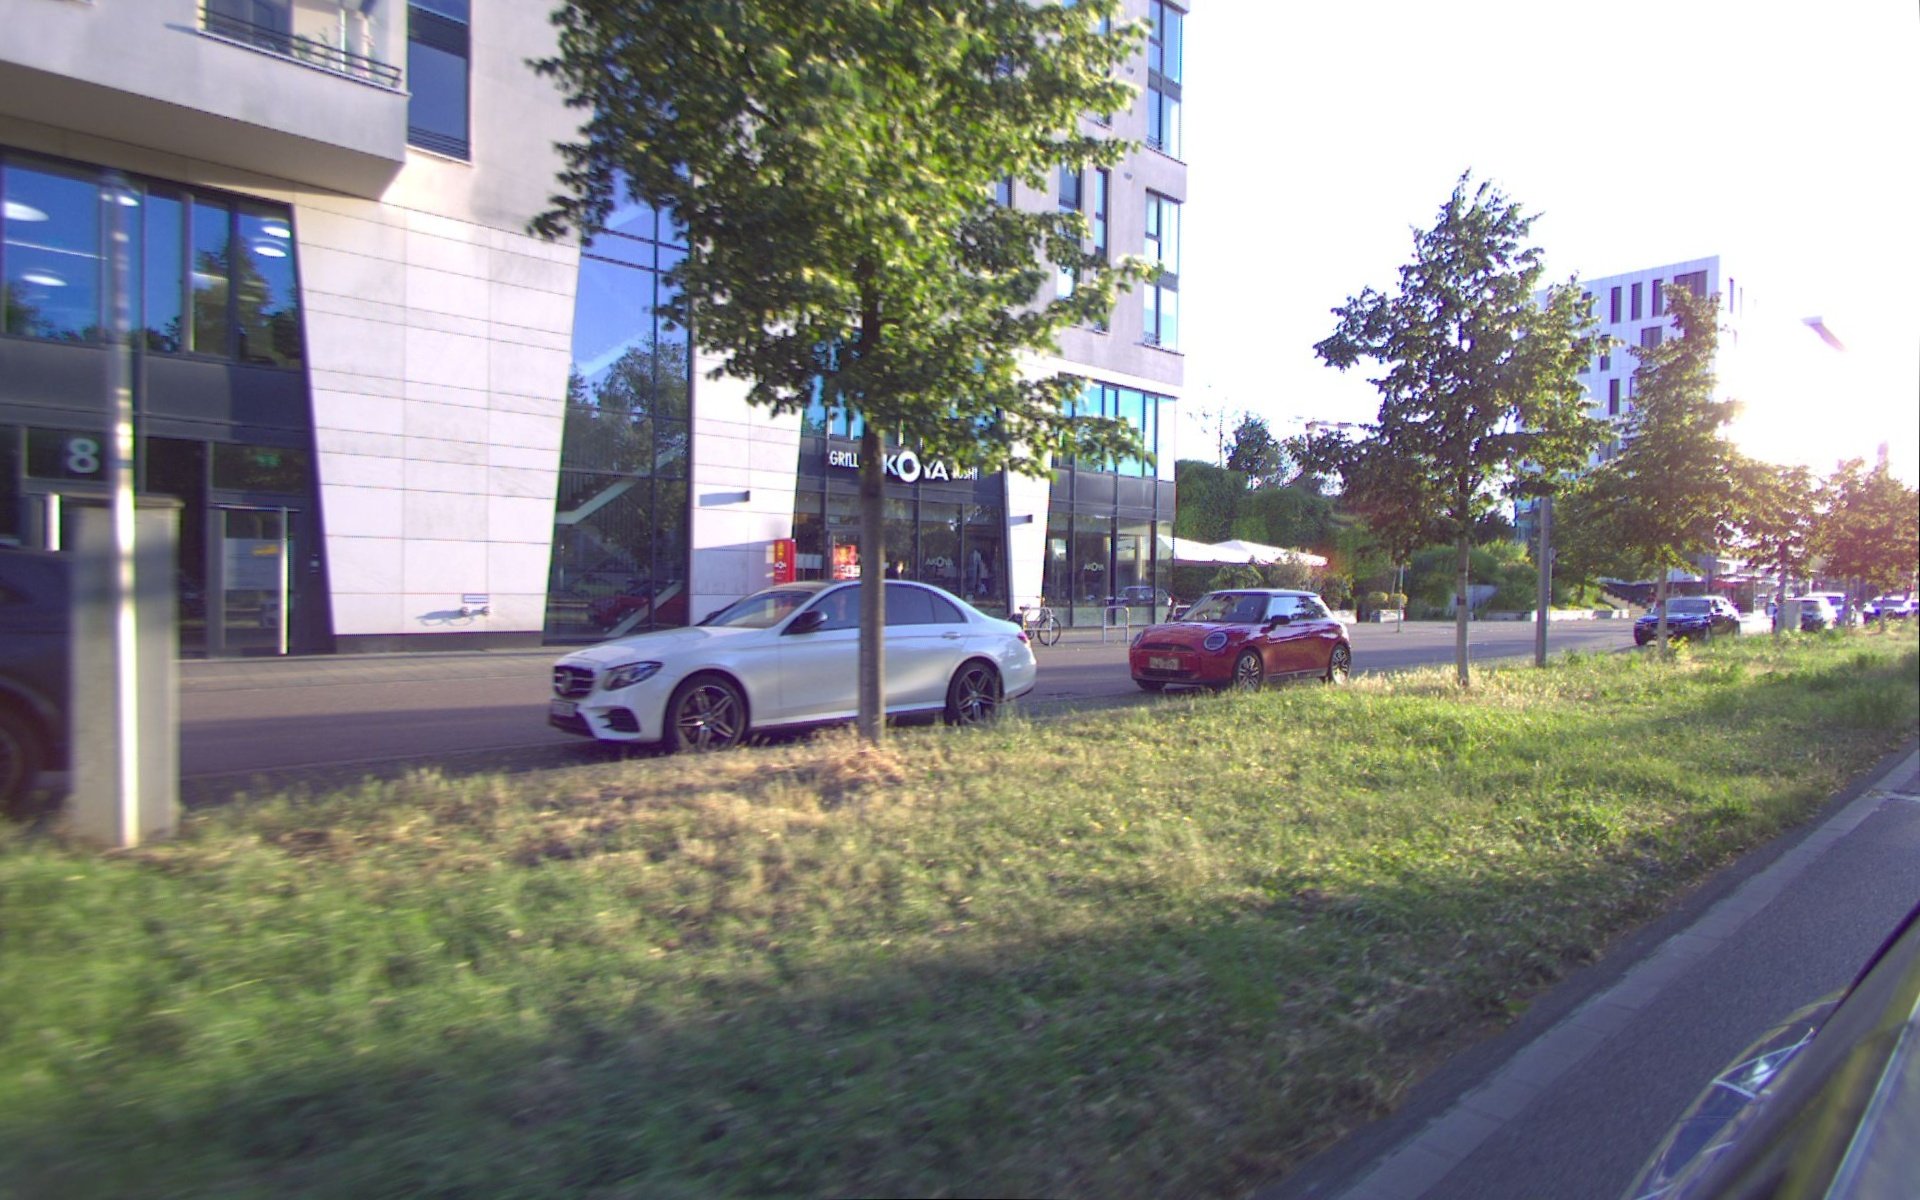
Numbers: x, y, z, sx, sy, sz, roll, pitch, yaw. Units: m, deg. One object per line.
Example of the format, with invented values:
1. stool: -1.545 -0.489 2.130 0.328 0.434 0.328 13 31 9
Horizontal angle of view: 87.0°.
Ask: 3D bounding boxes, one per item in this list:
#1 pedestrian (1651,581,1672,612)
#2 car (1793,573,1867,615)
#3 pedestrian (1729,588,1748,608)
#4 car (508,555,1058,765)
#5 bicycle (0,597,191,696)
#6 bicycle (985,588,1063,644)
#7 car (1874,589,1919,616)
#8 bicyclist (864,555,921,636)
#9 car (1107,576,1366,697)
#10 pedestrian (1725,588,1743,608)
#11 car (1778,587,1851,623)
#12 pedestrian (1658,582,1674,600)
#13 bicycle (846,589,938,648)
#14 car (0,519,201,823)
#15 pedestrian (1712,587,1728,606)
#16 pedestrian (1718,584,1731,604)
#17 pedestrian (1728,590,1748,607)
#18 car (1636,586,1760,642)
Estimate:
1. pedestrian: 38.448 -0.188 55.457 1.060 1.675 0.696 0 1 -42
2. car: 38.574 -0.252 44.850 4.595 1.653 1.810 0 -3 -42
3. pedestrian: 53.455 -0.155 69.504 0.671 1.306 0.778 0 3 -34
4. car: -1.448 0.406 9.676 4.923 1.519 1.924 0 1 -42
5. bicycle: -10.166 0.505 11.509 2.223 1.046 0.621 -1 1 -42
6. bicycle: 1.399 0.331 21.877 1.837 1.142 0.547 0 2 -43
7. car: 55.188 0.108 59.242 5.317 1.519 1.922 0 1 -42
8. bicyclist: -1.368 -0.098 20.496 1.001 1.588 0.546 0 1 -38
9. car: 4.096 0.433 14.701 3.891 1.519 1.811 0 1 -42
10. pedestrian: 52.766 -0.142 69.006 0.671 1.306 0.783 0 3 -34
11. car: 34.956 0.194 41.368 3.931 1.416 1.752 0 0 -42
12. pedestrian: 49.541 -0.620 71.021 0.757 1.281 0.744 0 1 -40
13. bicycle: -1.368 0.350 20.496 1.877 1.132 0.544 0 1 -38
14. car: -6.948 0.407 5.224 4.737 1.644 1.956 0 -1 -41
15. pedestrian: 52.423 -0.242 69.818 0.654 1.306 0.681 2 2 17
16. pedestrian: 53.113 -0.414 70.316 0.681 1.306 0.621 3 3 36
17. pedestrian: 55.729 -0.127 72.515 0.673 1.139 0.975 0 3 -40
18. car: 21.682 0.360 29.663 4.288 1.520 1.813 0 1 -38
